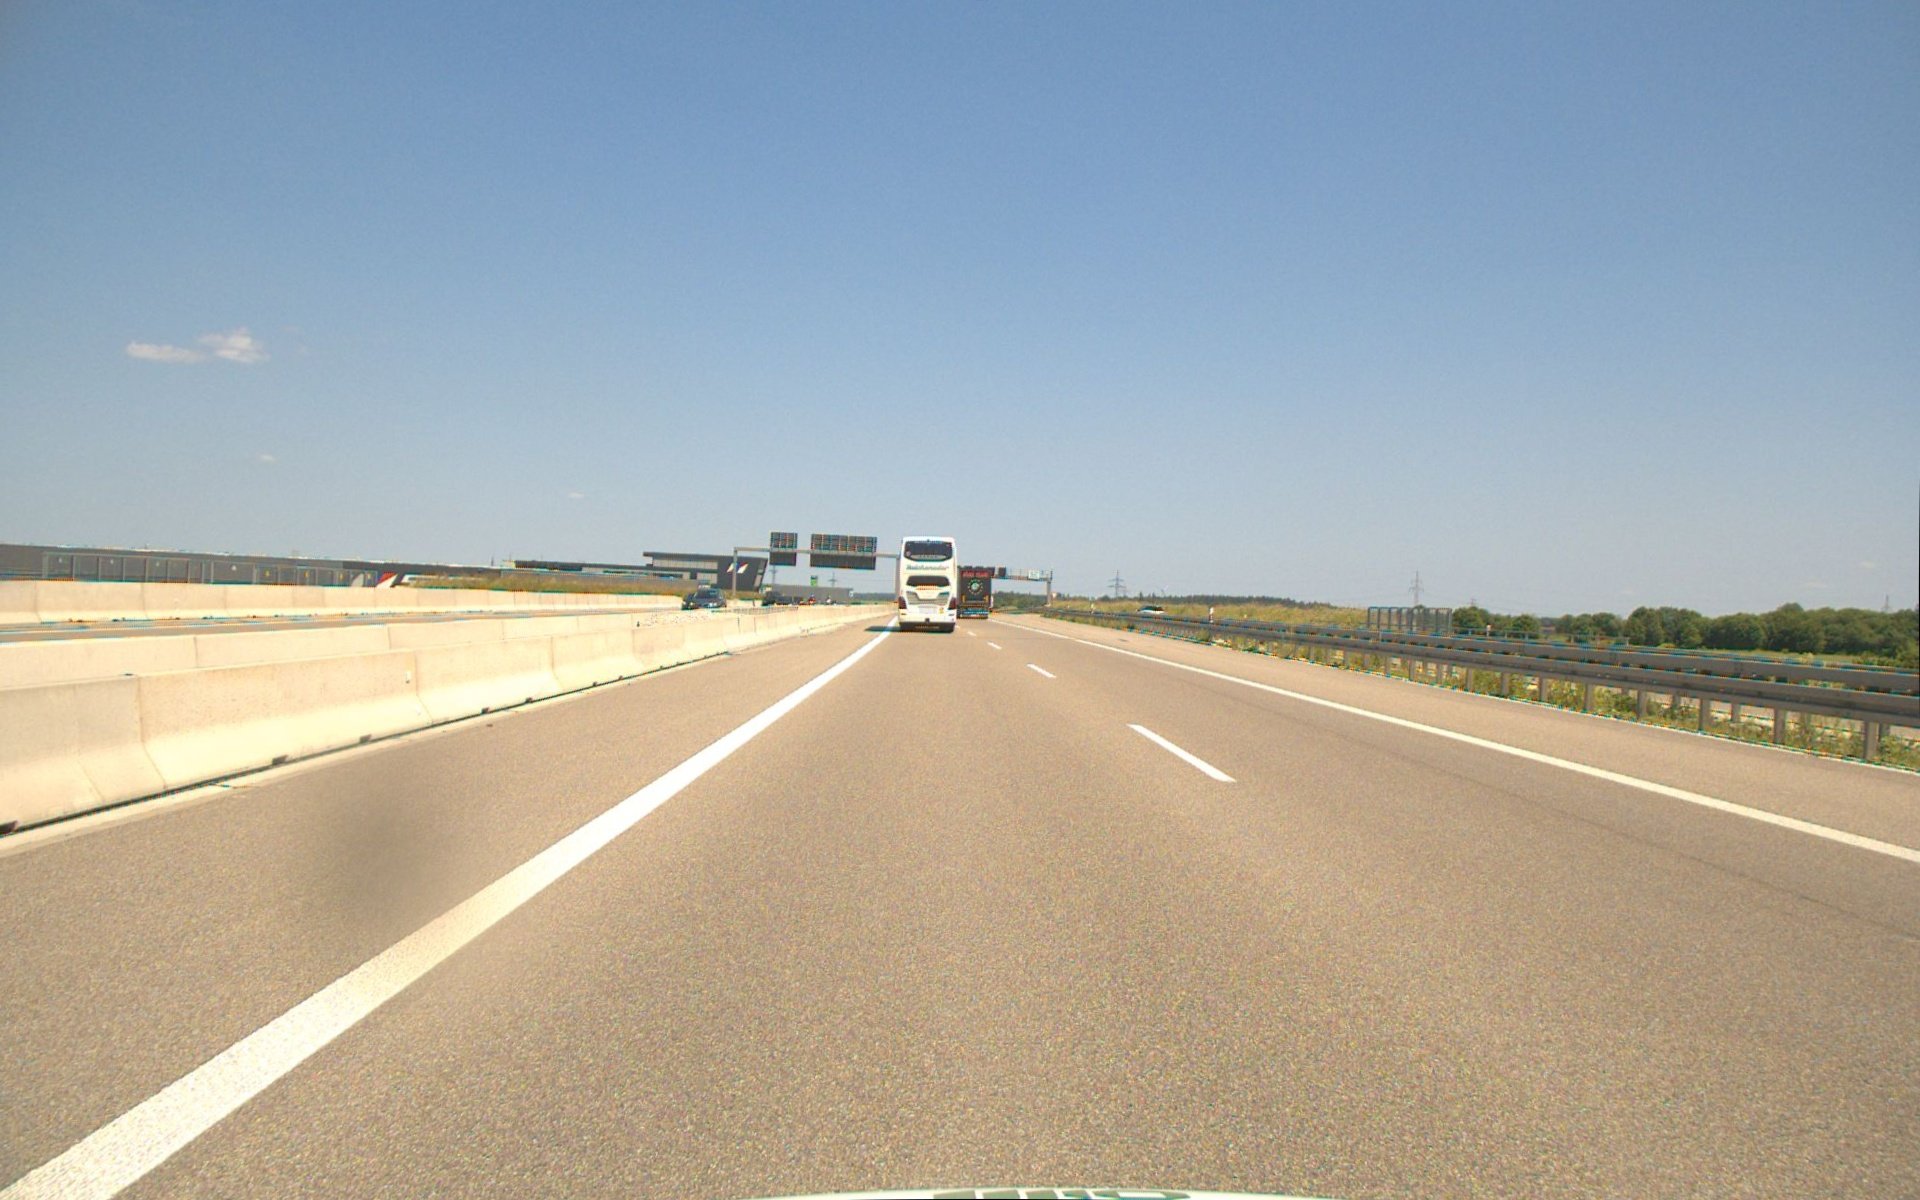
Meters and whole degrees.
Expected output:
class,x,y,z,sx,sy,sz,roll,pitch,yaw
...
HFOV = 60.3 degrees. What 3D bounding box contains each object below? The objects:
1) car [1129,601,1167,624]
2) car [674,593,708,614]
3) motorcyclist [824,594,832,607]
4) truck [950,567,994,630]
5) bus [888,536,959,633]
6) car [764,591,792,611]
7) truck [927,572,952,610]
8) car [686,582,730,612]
class,x,y,z,sx,sy,sz,roll,pitch,yaw
car,13.628,0.899,120.032,1.854,1.556,4.257,1,0,-6
car,-19.601,0.275,120.671,1.871,1.485,4.283,1,0,-2
motorcyclist,-17.060,0.044,213.491,0.901,1.650,1.088,1,0,-1
truck,1.074,0.022,136.394,3.310,4.542,13.566,2,-2,1
bus,-1.694,-0.689,74.692,2.920,4.044,9.101,1,0,-2
car,-16.159,0.068,147.084,1.953,1.698,4.649,1,0,0
truck,-2.142,-0.911,170.100,2.388,3.855,6.491,1,0,-2
car,-15.293,-0.193,100.475,1.846,1.716,5.015,1,0,0
